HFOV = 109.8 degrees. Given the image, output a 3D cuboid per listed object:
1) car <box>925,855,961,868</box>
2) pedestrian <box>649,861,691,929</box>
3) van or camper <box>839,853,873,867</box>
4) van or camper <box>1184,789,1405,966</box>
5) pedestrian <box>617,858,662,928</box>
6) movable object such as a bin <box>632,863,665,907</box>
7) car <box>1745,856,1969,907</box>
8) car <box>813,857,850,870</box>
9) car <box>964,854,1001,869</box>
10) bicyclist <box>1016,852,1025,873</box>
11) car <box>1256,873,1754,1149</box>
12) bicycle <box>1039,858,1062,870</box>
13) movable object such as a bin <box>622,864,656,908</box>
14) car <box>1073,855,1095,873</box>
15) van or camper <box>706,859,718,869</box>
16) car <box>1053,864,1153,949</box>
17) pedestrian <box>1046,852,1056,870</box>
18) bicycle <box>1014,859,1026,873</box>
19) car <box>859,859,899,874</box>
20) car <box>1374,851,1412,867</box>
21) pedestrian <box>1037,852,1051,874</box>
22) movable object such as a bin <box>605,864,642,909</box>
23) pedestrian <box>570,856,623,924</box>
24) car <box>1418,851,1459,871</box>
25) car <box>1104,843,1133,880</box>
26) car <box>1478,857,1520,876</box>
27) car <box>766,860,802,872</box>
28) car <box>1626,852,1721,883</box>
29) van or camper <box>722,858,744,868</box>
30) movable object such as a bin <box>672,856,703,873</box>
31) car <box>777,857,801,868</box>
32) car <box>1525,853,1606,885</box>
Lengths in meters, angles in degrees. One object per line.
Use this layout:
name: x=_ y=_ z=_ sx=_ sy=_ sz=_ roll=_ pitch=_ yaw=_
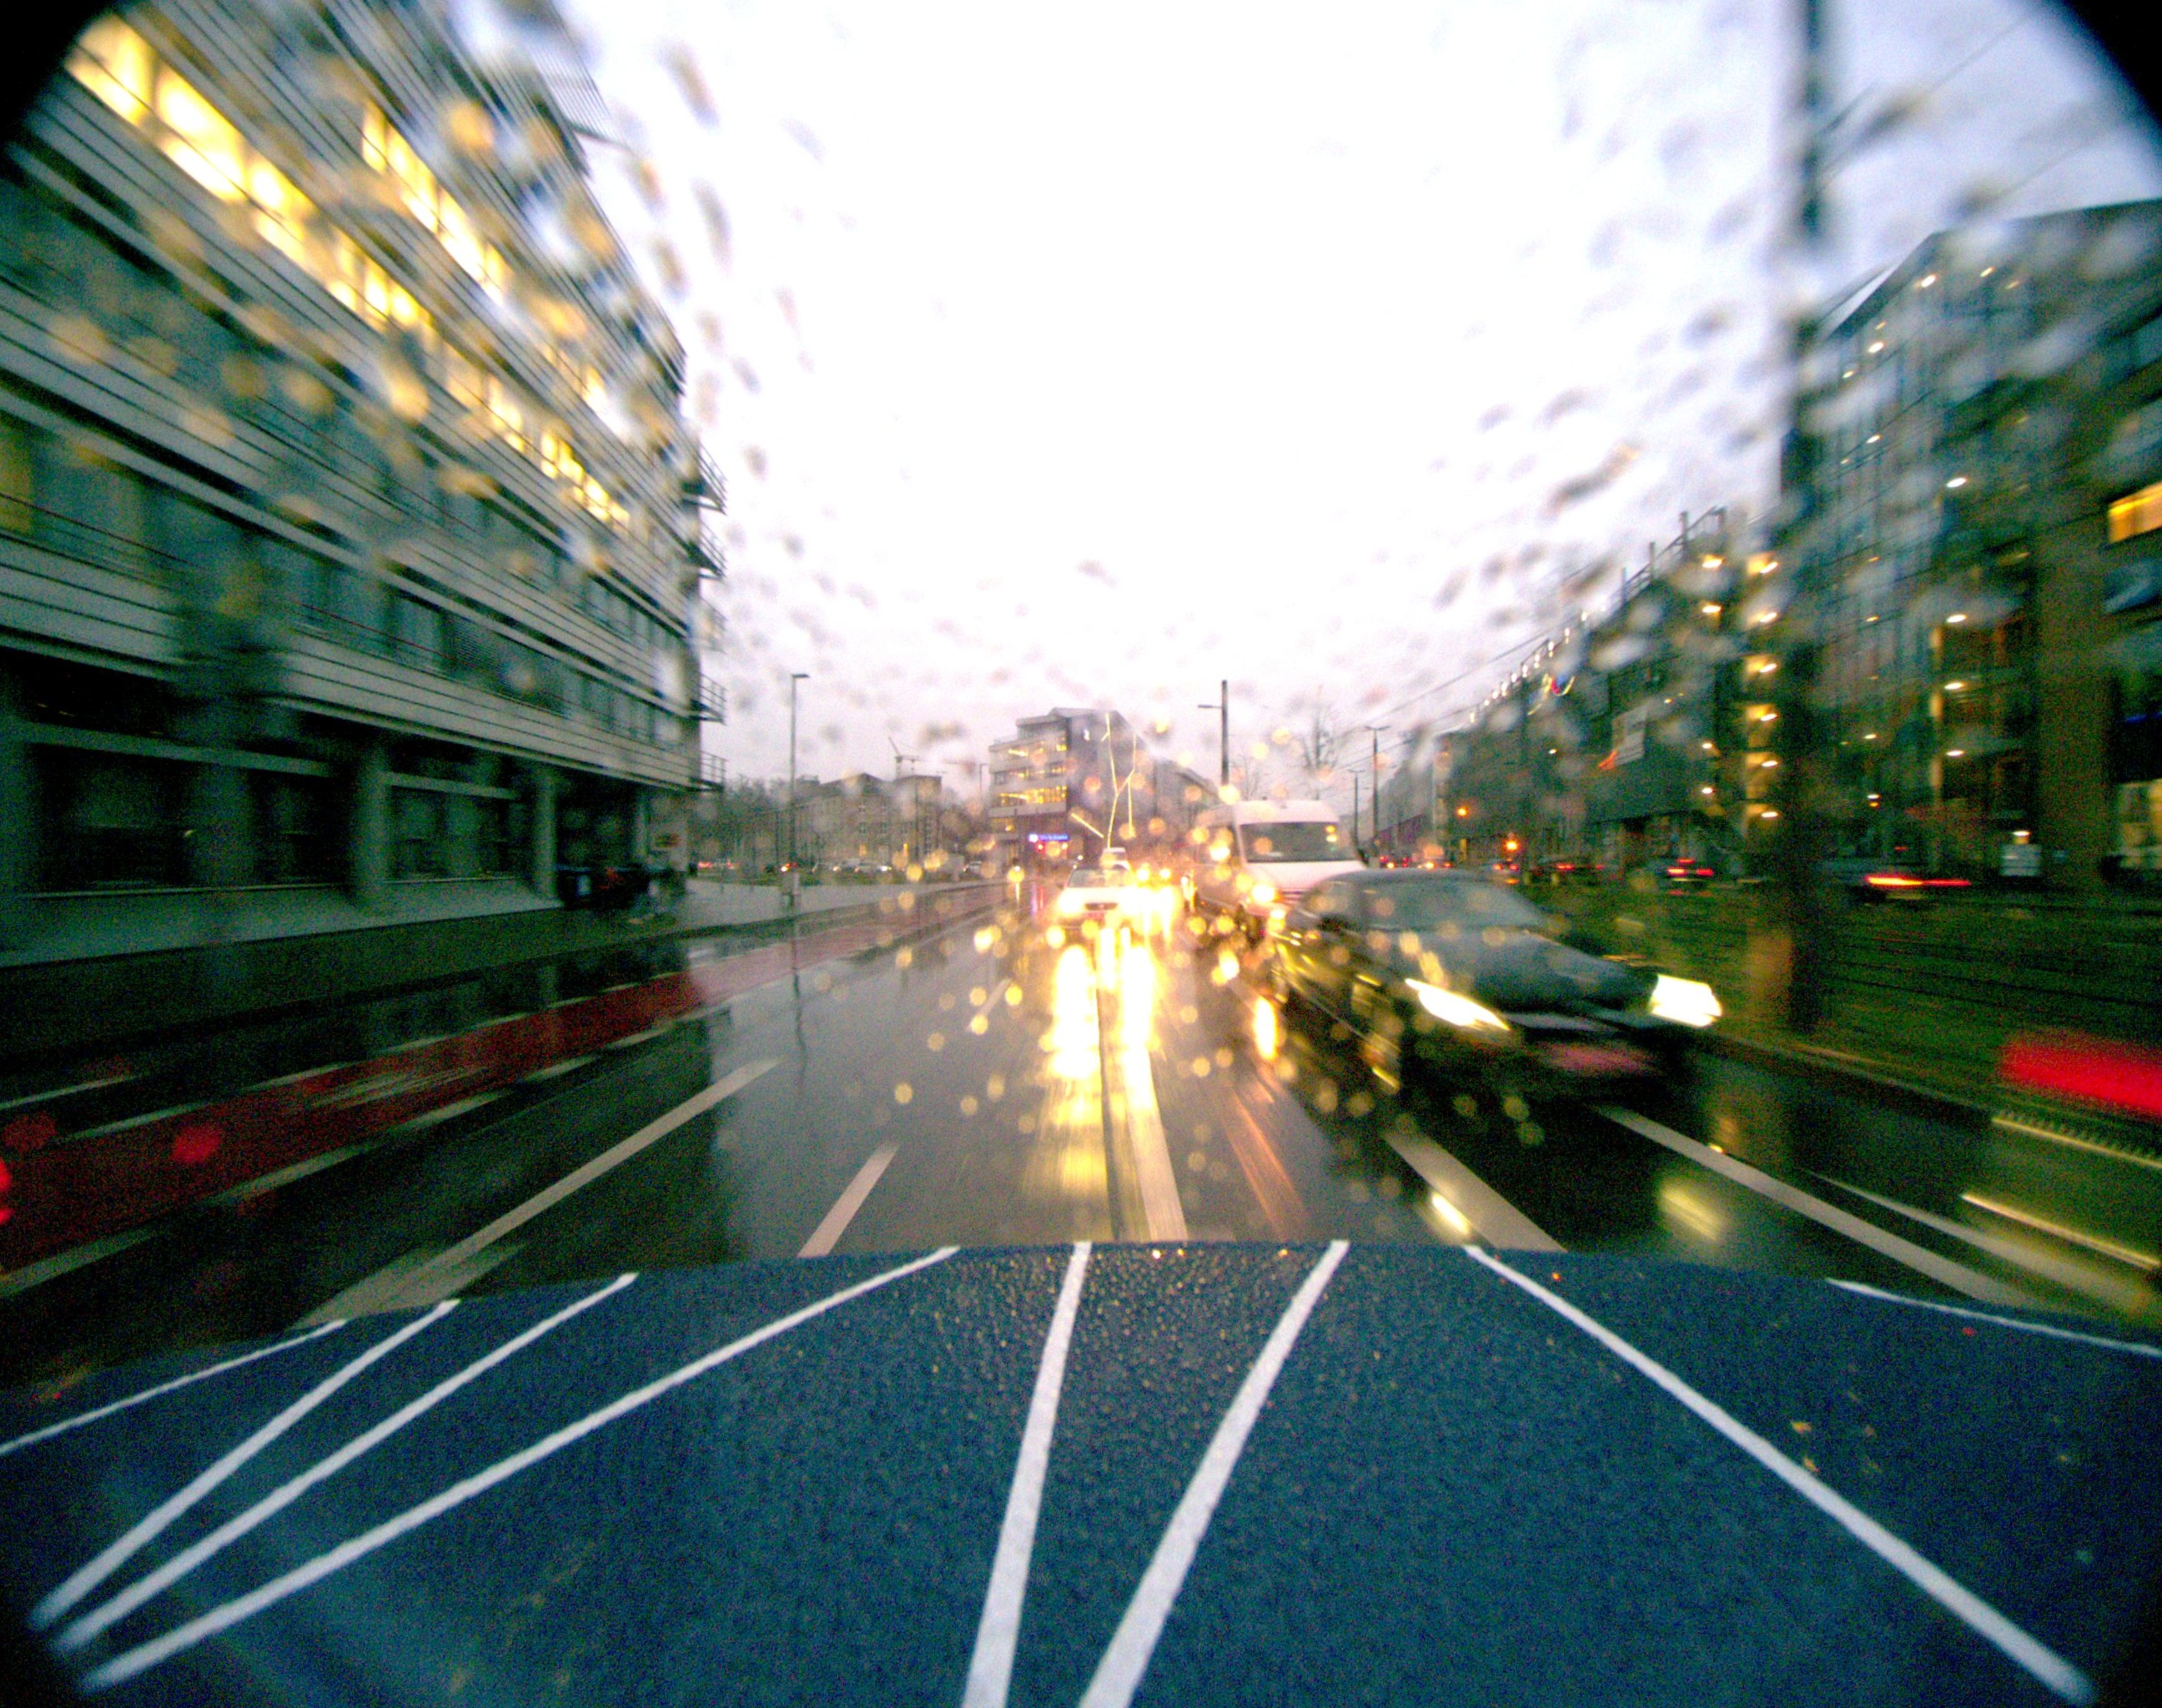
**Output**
car: x=-16.651 y=0.923 z=91.665 sx=3.759 sy=1.528 sz=1.782 roll=0 pitch=0 yaw=15
pedestrian: x=-10.415 y=1.025 z=19.271 sx=0.616 sy=1.659 sz=0.884 roll=1 pitch=0 yaw=-5
van or camper: x=-32.889 y=0.910 z=111.044 sx=4.368 sy=1.839 sz=2.003 roll=-3 pitch=0 yaw=20
van or camper: x=3.475 y=0.327 z=13.866 sx=2.154 sy=2.517 sz=5.897 roll=-1 pitch=0 yaw=-2
pedestrian: x=-11.086 y=0.965 z=19.107 sx=0.651 sy=1.692 sz=0.884 roll=1 pitch=0 yaw=-5
movable object such as a bin: x=-14.900 y=1.069 z=26.223 sx=0.666 sy=1.468 sz=0.840 roll=-1 pitch=1 yaw=-4
car: x=21.432 y=0.691 z=21.299 sx=1.844 sy=1.230 sz=4.373 roll=-1 pitch=0 yaw=0
car: x=-31.643 y=1.185 z=96.563 sx=3.997 sy=1.663 sz=2.002 roll=-1 pitch=0 yaw=15
car: x=-11.729 y=0.900 z=90.634 sx=3.919 sy=1.699 sz=1.782 roll=-1 pitch=0 yaw=13
bicyclist: x=-5.343 y=0.759 z=66.794 sx=0.672 sy=1.787 sz=0.805 roll=-1 pitch=1 yaw=-15
car: x=2.706 y=0.885 z=6.042 sx=1.759 sy=1.337 sz=4.056 roll=-1 pitch=0 yaw=1
bicycle: x=-3.040 y=1.006 z=76.424 sx=2.203 sy=1.182 sz=0.668 roll=0 pitch=1 yaw=5
movable object such as a bin: x=-14.706 y=1.043 z=25.298 sx=0.666 sy=1.420 sz=0.840 roll=-1 pitch=1 yaw=-4
car: x=0.288 y=1.031 z=80.811 sx=2.170 sy=1.744 sz=4.539 roll=1 pitch=2 yaw=-2
van or camper: x=-69.901 y=1.872 z=143.888 sx=1.812 sy=1.689 sz=3.828 roll=-1 pitch=0 yaw=-31
car: x=0.355 y=0.963 z=15.627 sx=1.782 sy=1.464 sz=3.943 roll=-1 pitch=0 yaw=-1
pedestrian: x=-3.032 y=0.718 z=76.412 sx=0.892 sy=1.783 sz=0.668 roll=0 pitch=1 yaw=5
bicycle: x=-5.367 y=1.054 z=66.913 sx=0.682 sy=1.191 sz=1.759 roll=-1 pitch=0 yaw=-15
car: x=-25.122 y=1.589 z=94.423 sx=4.369 sy=1.750 sz=2.002 roll=-1 pitch=0 yaw=15
car: x=28.853 y=0.479 z=70.306 sx=1.792 sy=1.412 sz=3.898 roll=-1 pitch=0 yaw=-2
pedestrian: x=-3.482 y=0.855 z=71.420 sx=1.119 sy=2.002 sz=1.034 roll=0 pitch=1 yaw=13
movable object such as a bin: x=-14.681 y=1.026 z=24.402 sx=0.666 sy=1.420 sz=0.840 roll=-1 pitch=1 yaw=-4
pedestrian: x=-12.464 y=0.907 z=19.577 sx=0.747 sy=1.692 sz=0.968 roll=2 pitch=0 yaw=-5
car: x=26.603 y=0.504 z=56.646 sx=1.790 sy=1.412 sz=3.902 roll=-1 pitch=0 yaw=9
car: x=3.092 y=0.602 z=61.890 sx=2.128 sy=2.847 sz=5.815 roll=-1 pitch=0 yaw=4
car: x=33.178 y=0.986 z=60.406 sx=1.656 sy=1.412 sz=3.700 roll=-1 pitch=0 yaw=7
car: x=-38.770 y=1.522 z=99.189 sx=3.997 sy=1.496 sz=2.002 roll=-1 pitch=0 yaw=15
car: x=29.248 y=0.648 z=37.665 sx=1.791 sy=1.412 sz=3.899 roll=-1 pitch=0 yaw=2
van or camper: x=-58.355 y=1.511 z=127.477 sx=3.826 sy=1.689 sz=1.813 roll=-1 pitch=0 yaw=39
movable object such as a bin: x=-39.779 y=1.045 z=76.816 sx=2.697 sy=1.734 sz=2.547 roll=-1 pitch=0 yaw=-28
car: x=-44.812 y=1.325 z=116.627 sx=3.258 sy=1.671 sz=1.604 roll=-1 pitch=0 yaw=30
car: x=23.236 y=0.689 z=36.591 sx=1.791 sy=1.412 sz=3.901 roll=-1 pitch=0 yaw=7
